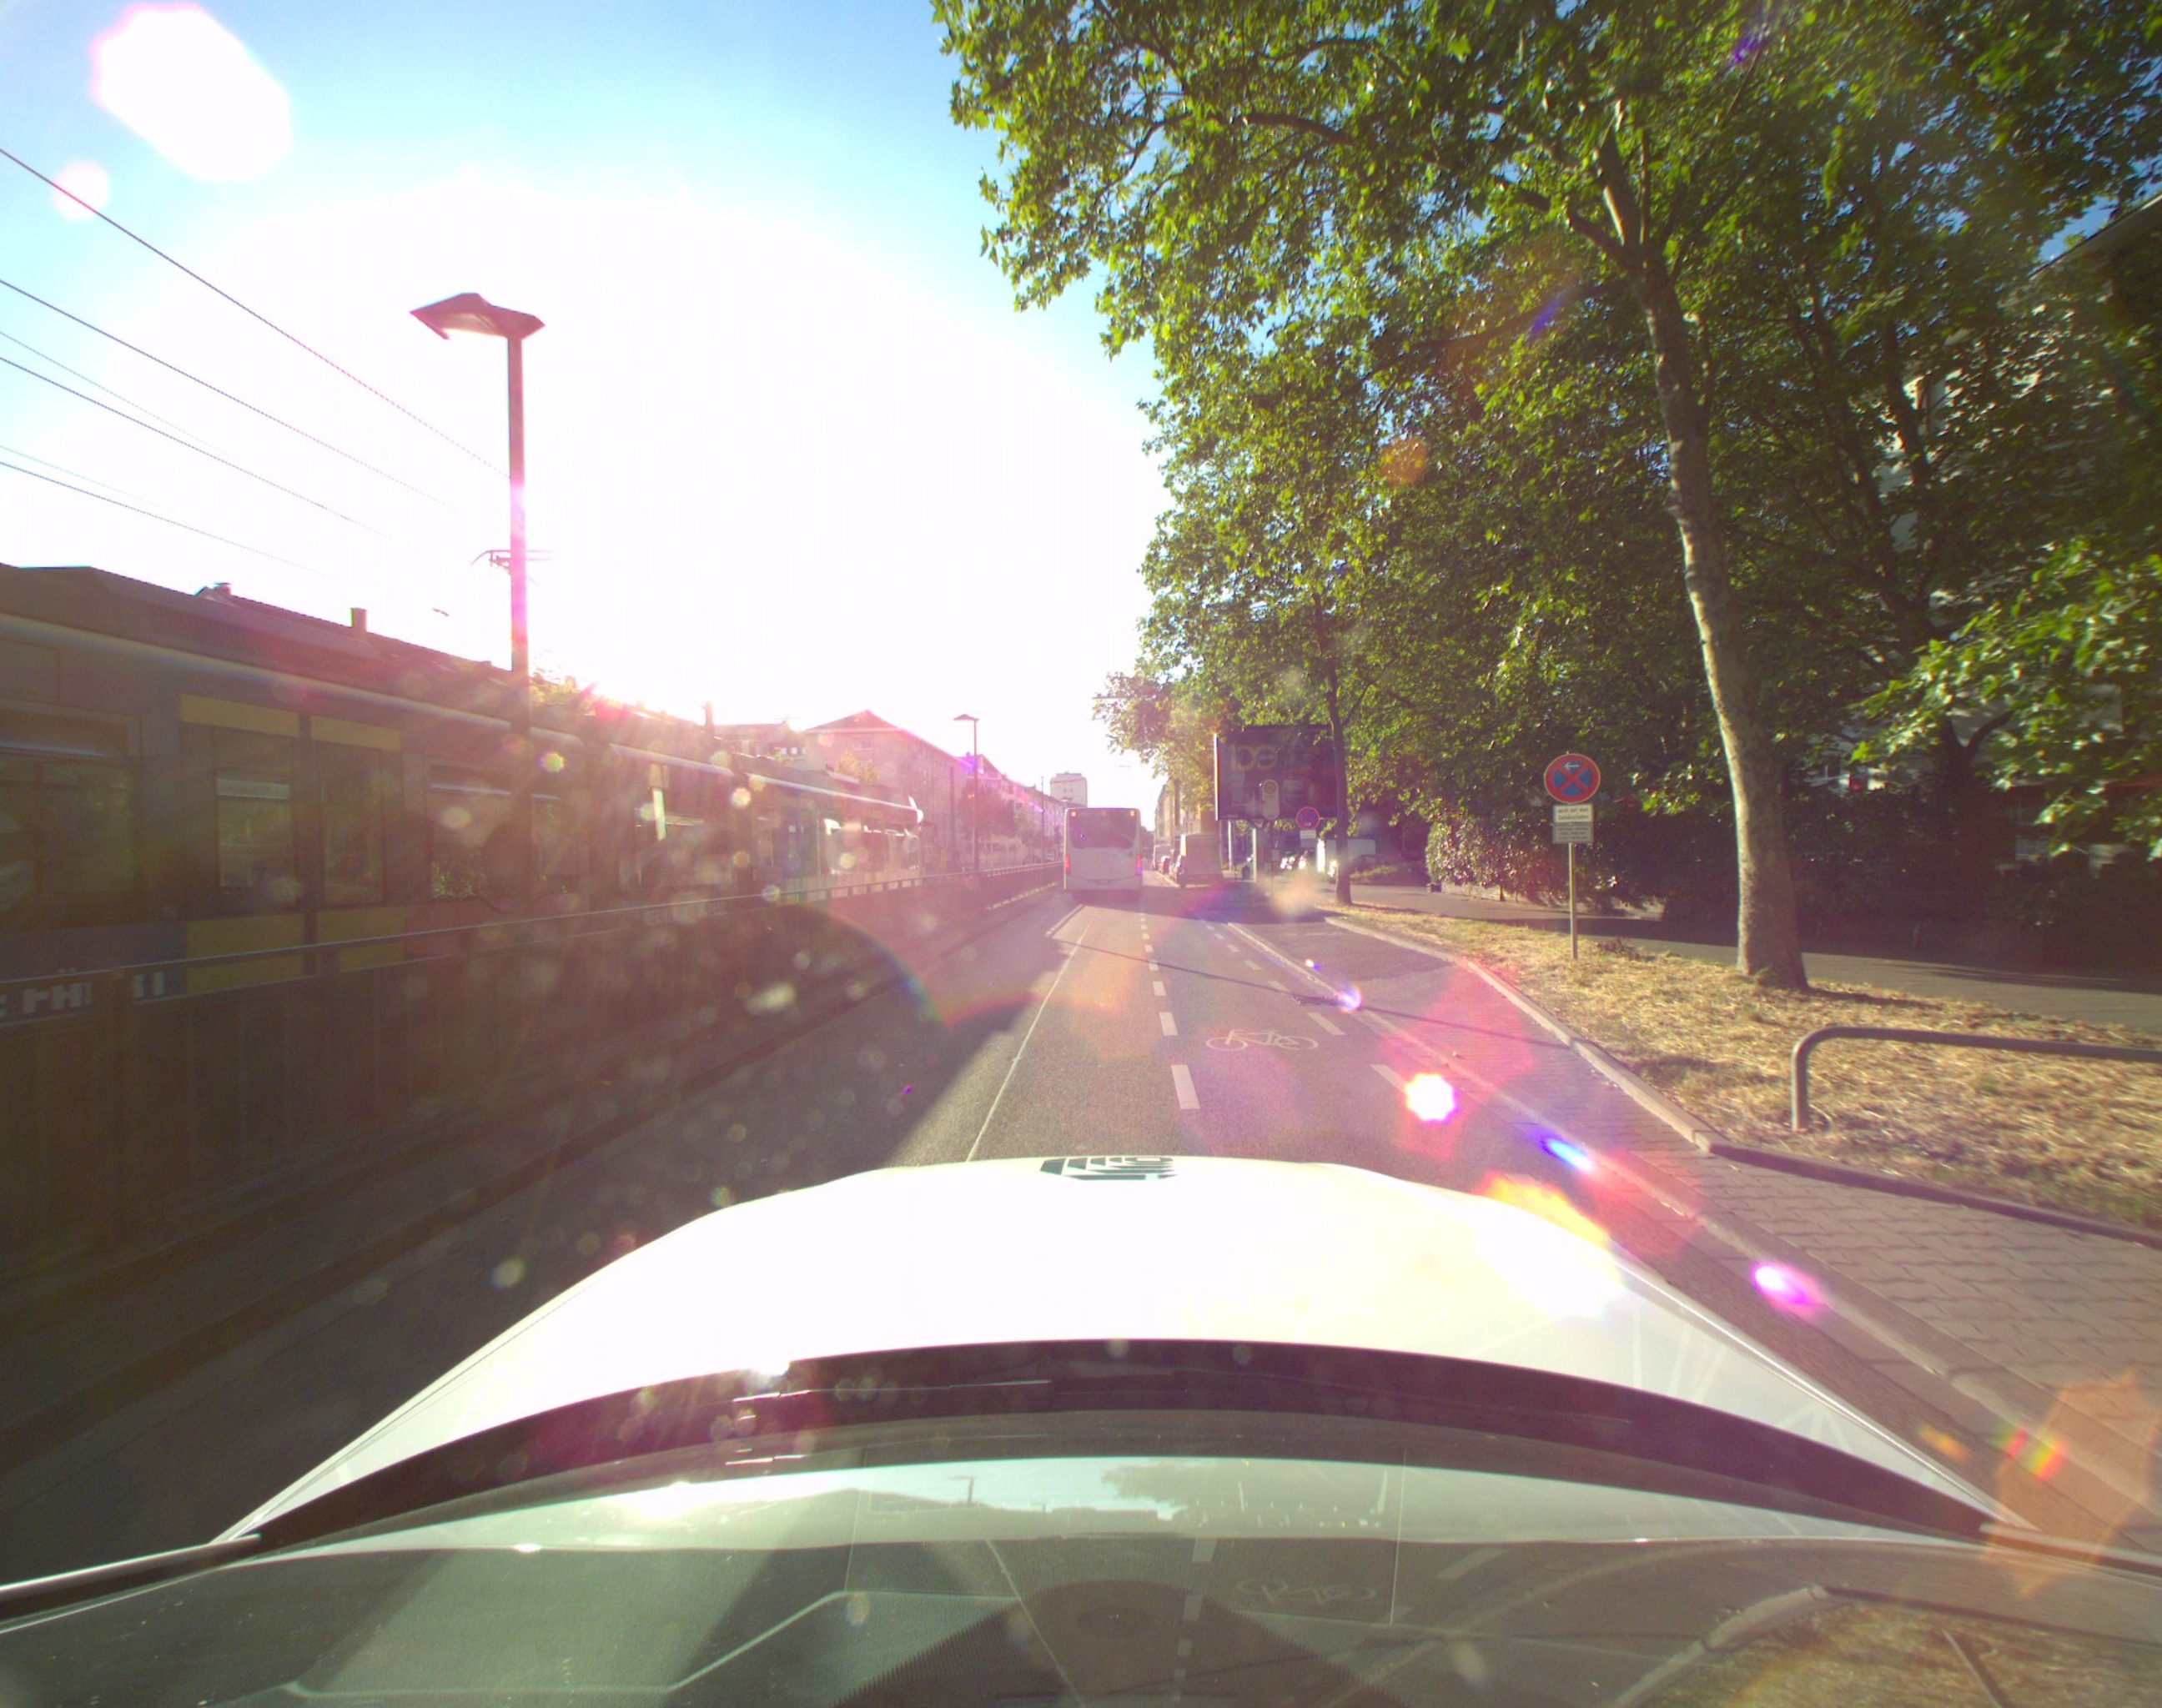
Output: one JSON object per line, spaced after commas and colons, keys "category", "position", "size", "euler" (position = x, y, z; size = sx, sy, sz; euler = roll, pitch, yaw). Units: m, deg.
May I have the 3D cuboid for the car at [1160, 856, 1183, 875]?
{"category": "car", "position": [7.497, 0.970, 67.989], "size": [1.664, 1.463, 3.937], "euler": [-3, -1, 4]}

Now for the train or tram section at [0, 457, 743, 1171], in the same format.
{"category": "train or tram section", "position": [-6.643, -0.177, 5.325], "size": [2.717, 3.549, 12.797], "euler": [-1, 0, 4]}

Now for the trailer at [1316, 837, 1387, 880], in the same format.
{"category": "trailer", "position": [13.649, 0.234, 41.269], "size": [3.050, 2.069, 1.881], "euler": [-1, 0, 4]}

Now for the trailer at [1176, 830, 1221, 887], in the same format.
{"category": "trailer", "position": [5.552, 0.225, 38.839], "size": [1.824, 2.557, 3.322], "euler": [-2, 0, 3]}

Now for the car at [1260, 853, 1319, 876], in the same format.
{"category": "car", "position": [15.382, 0.762, 60.249], "size": [3.904, 1.588, 1.708], "euler": [-2, -1, 3]}

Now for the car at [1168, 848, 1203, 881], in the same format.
{"category": "car", "position": [6.624, 0.634, 52.007], "size": [1.839, 1.956, 4.548], "euler": [-2, -1, 4]}

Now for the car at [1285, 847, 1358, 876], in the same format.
{"category": "car", "position": [14.389, 0.439, 48.887], "size": [3.904, 1.637, 1.708], "euler": [-2, -1, 3]}

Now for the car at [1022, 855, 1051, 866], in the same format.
{"category": "car", "position": [-6.780, 0.959, 123.959], "size": [4.120, 1.618, 2.001], "euler": [-1, 0, 1]}

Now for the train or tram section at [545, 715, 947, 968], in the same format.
{"category": "train or tram section", "position": [-5.859, -0.159, 18.188], "size": [2.629, 3.519, 13.346], "euler": [-1, 0, 4]}

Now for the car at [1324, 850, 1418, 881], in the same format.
{"category": "car", "position": [13.683, 0.532, 38.571], "size": [3.902, 1.336, 1.708], "euler": [-2, -1, 4]}

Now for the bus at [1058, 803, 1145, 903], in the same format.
{"category": "bus", "position": [1.026, -0.030, 31.209], "size": [2.721, 3.139, 10.715], "euler": [-1, 0, 4]}

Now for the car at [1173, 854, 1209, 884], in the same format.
{"category": "car", "position": [6.188, 0.803, 46.023], "size": [1.693, 1.588, 3.831], "euler": [-2, -1, 4]}

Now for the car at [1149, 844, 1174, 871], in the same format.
{"category": "car", "position": [8.274, 0.385, 84.013], "size": [2.272, 2.627, 5.314], "euler": [-2, -1, 4]}

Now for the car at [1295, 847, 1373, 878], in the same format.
{"category": "car", "position": [14.410, 0.464, 46.518], "size": [3.904, 1.636, 1.708], "euler": [-2, -1, 3]}

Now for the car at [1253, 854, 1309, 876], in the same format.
{"category": "car", "position": [15.334, 0.839, 62.596], "size": [3.904, 1.588, 1.708], "euler": [-2, -1, 3]}
